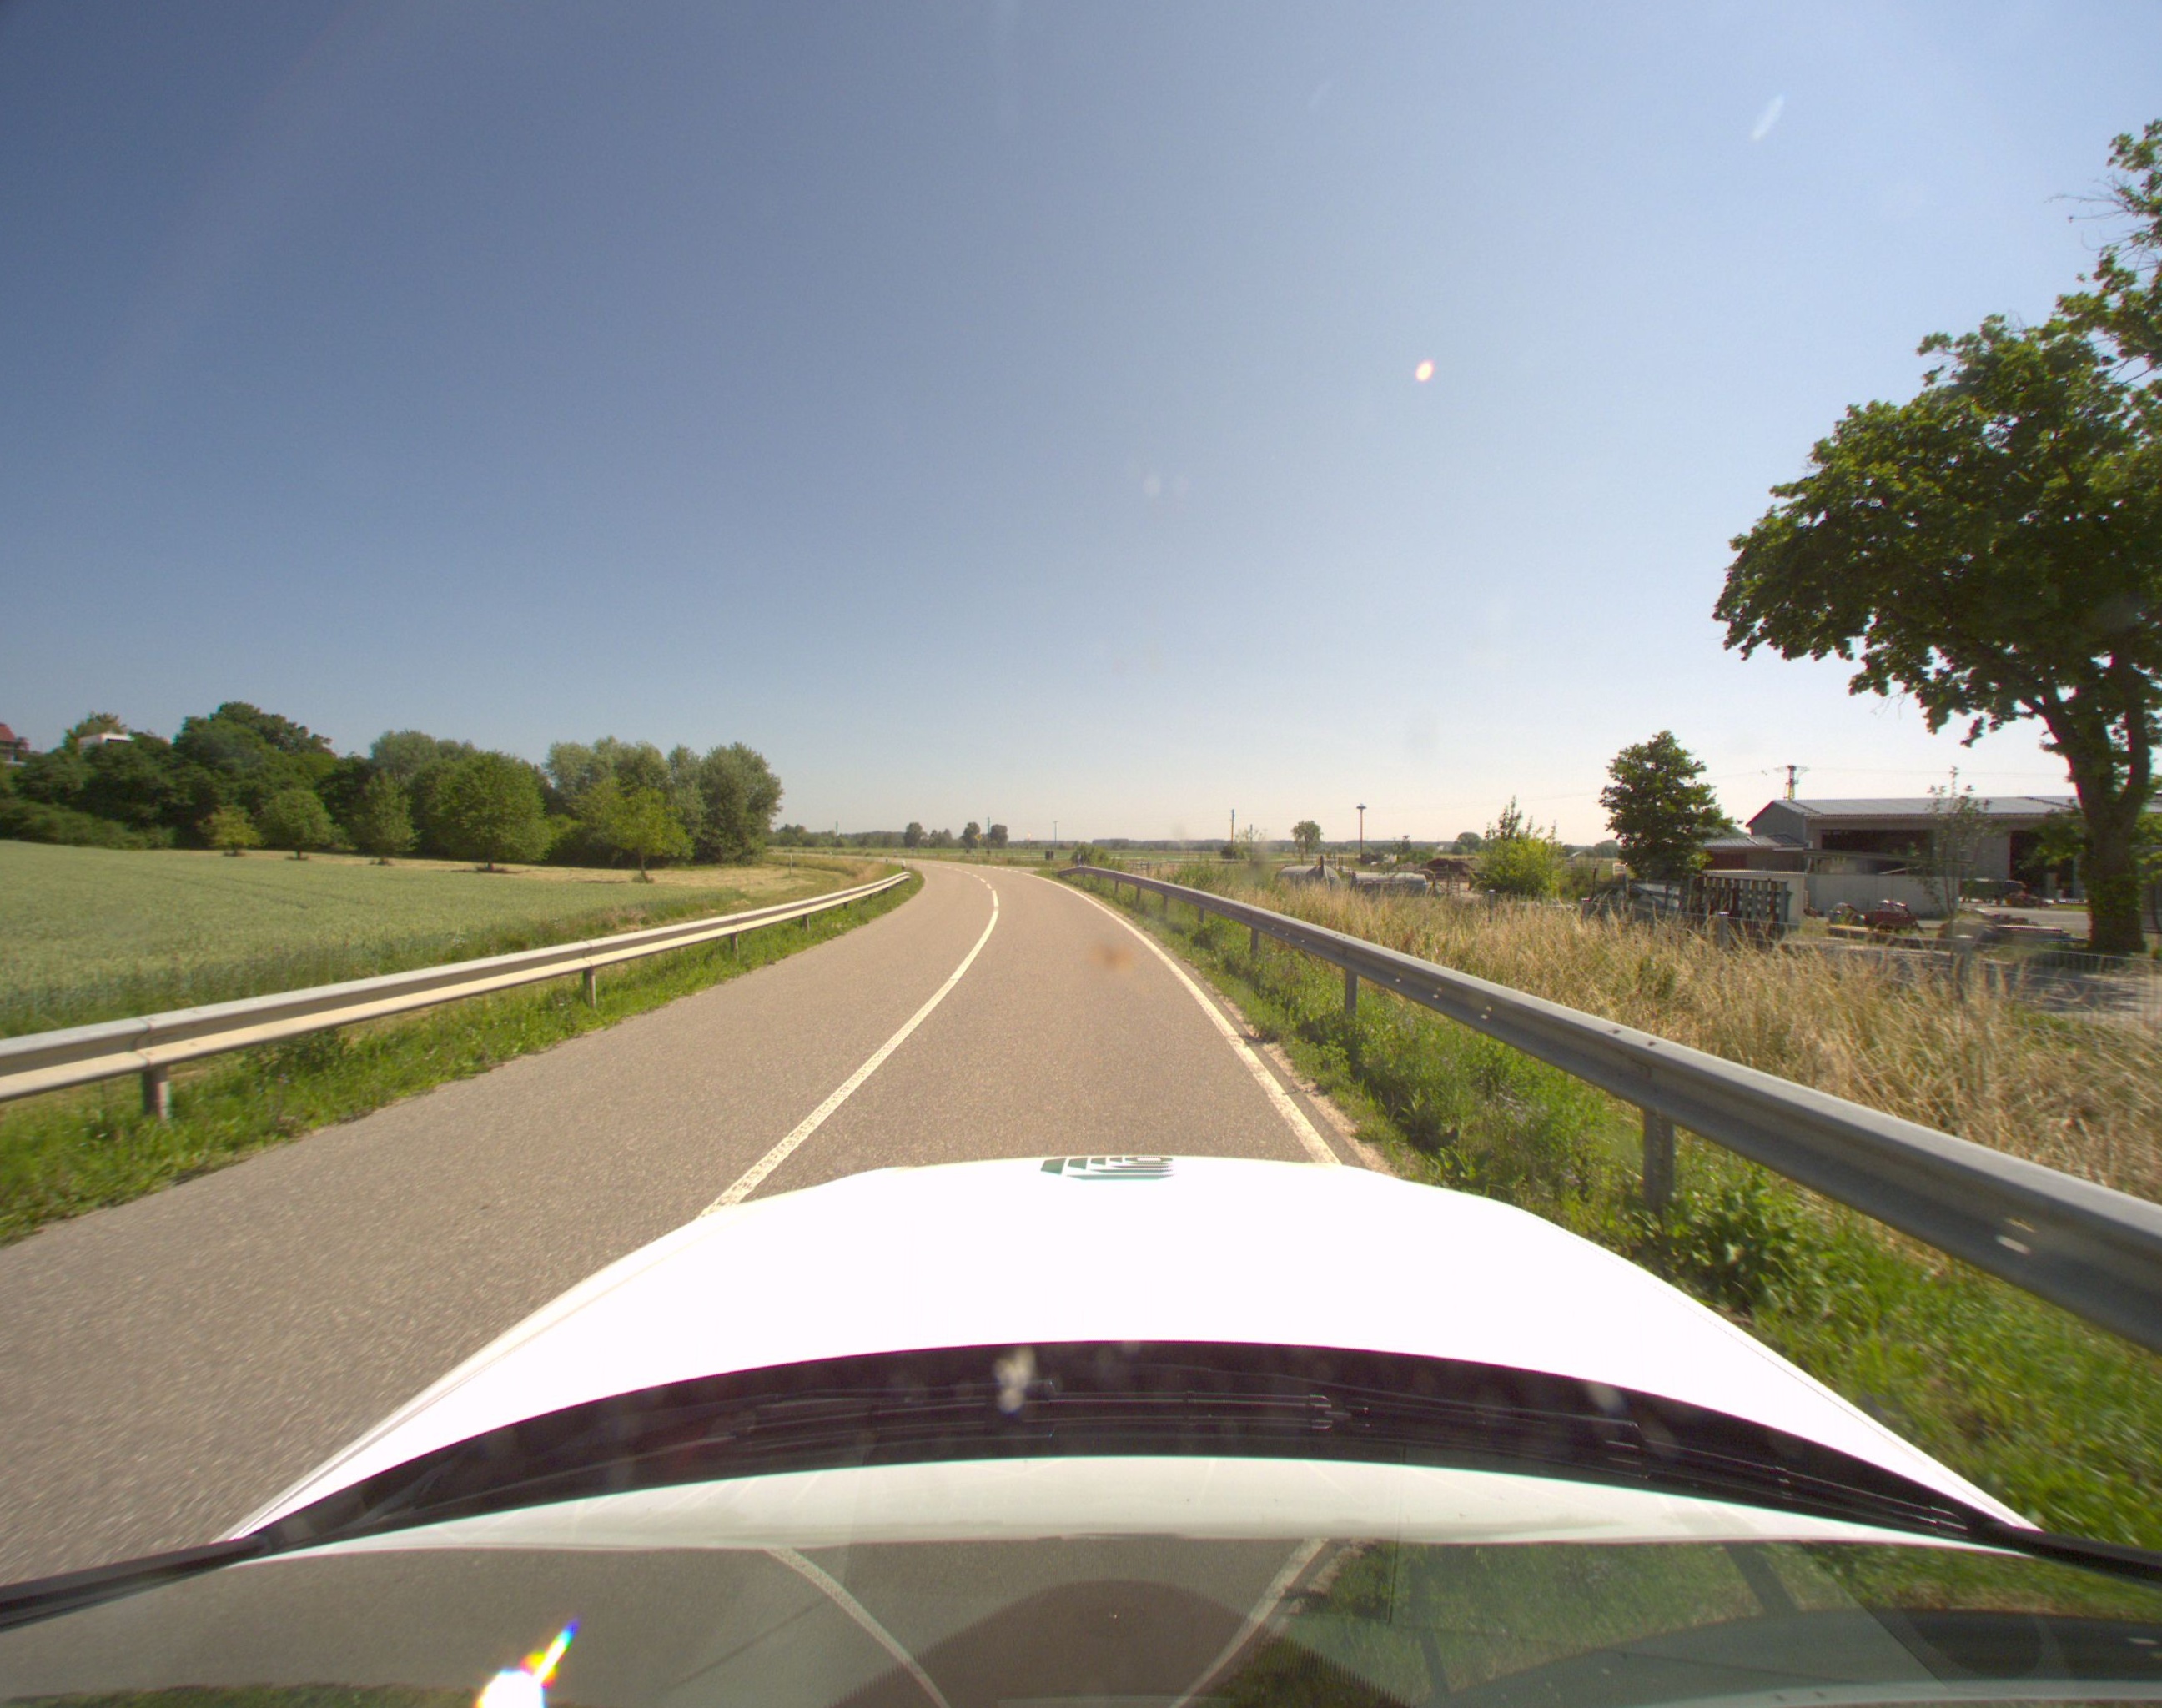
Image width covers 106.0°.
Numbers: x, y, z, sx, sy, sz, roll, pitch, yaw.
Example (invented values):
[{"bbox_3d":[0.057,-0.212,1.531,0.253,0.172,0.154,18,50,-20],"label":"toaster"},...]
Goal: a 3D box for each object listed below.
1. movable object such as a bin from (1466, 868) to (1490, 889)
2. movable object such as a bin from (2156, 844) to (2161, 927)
[{"bbox_3d":[26.752,1.626,54.877,1.357,1.349,1.525,1,0,22],"label":"movable object such as a bin"},{"bbox_3d":[36.586,1.116,23.823,2.978,2.769,6.535,2,1,18],"label":"movable object such as a bin"}]
